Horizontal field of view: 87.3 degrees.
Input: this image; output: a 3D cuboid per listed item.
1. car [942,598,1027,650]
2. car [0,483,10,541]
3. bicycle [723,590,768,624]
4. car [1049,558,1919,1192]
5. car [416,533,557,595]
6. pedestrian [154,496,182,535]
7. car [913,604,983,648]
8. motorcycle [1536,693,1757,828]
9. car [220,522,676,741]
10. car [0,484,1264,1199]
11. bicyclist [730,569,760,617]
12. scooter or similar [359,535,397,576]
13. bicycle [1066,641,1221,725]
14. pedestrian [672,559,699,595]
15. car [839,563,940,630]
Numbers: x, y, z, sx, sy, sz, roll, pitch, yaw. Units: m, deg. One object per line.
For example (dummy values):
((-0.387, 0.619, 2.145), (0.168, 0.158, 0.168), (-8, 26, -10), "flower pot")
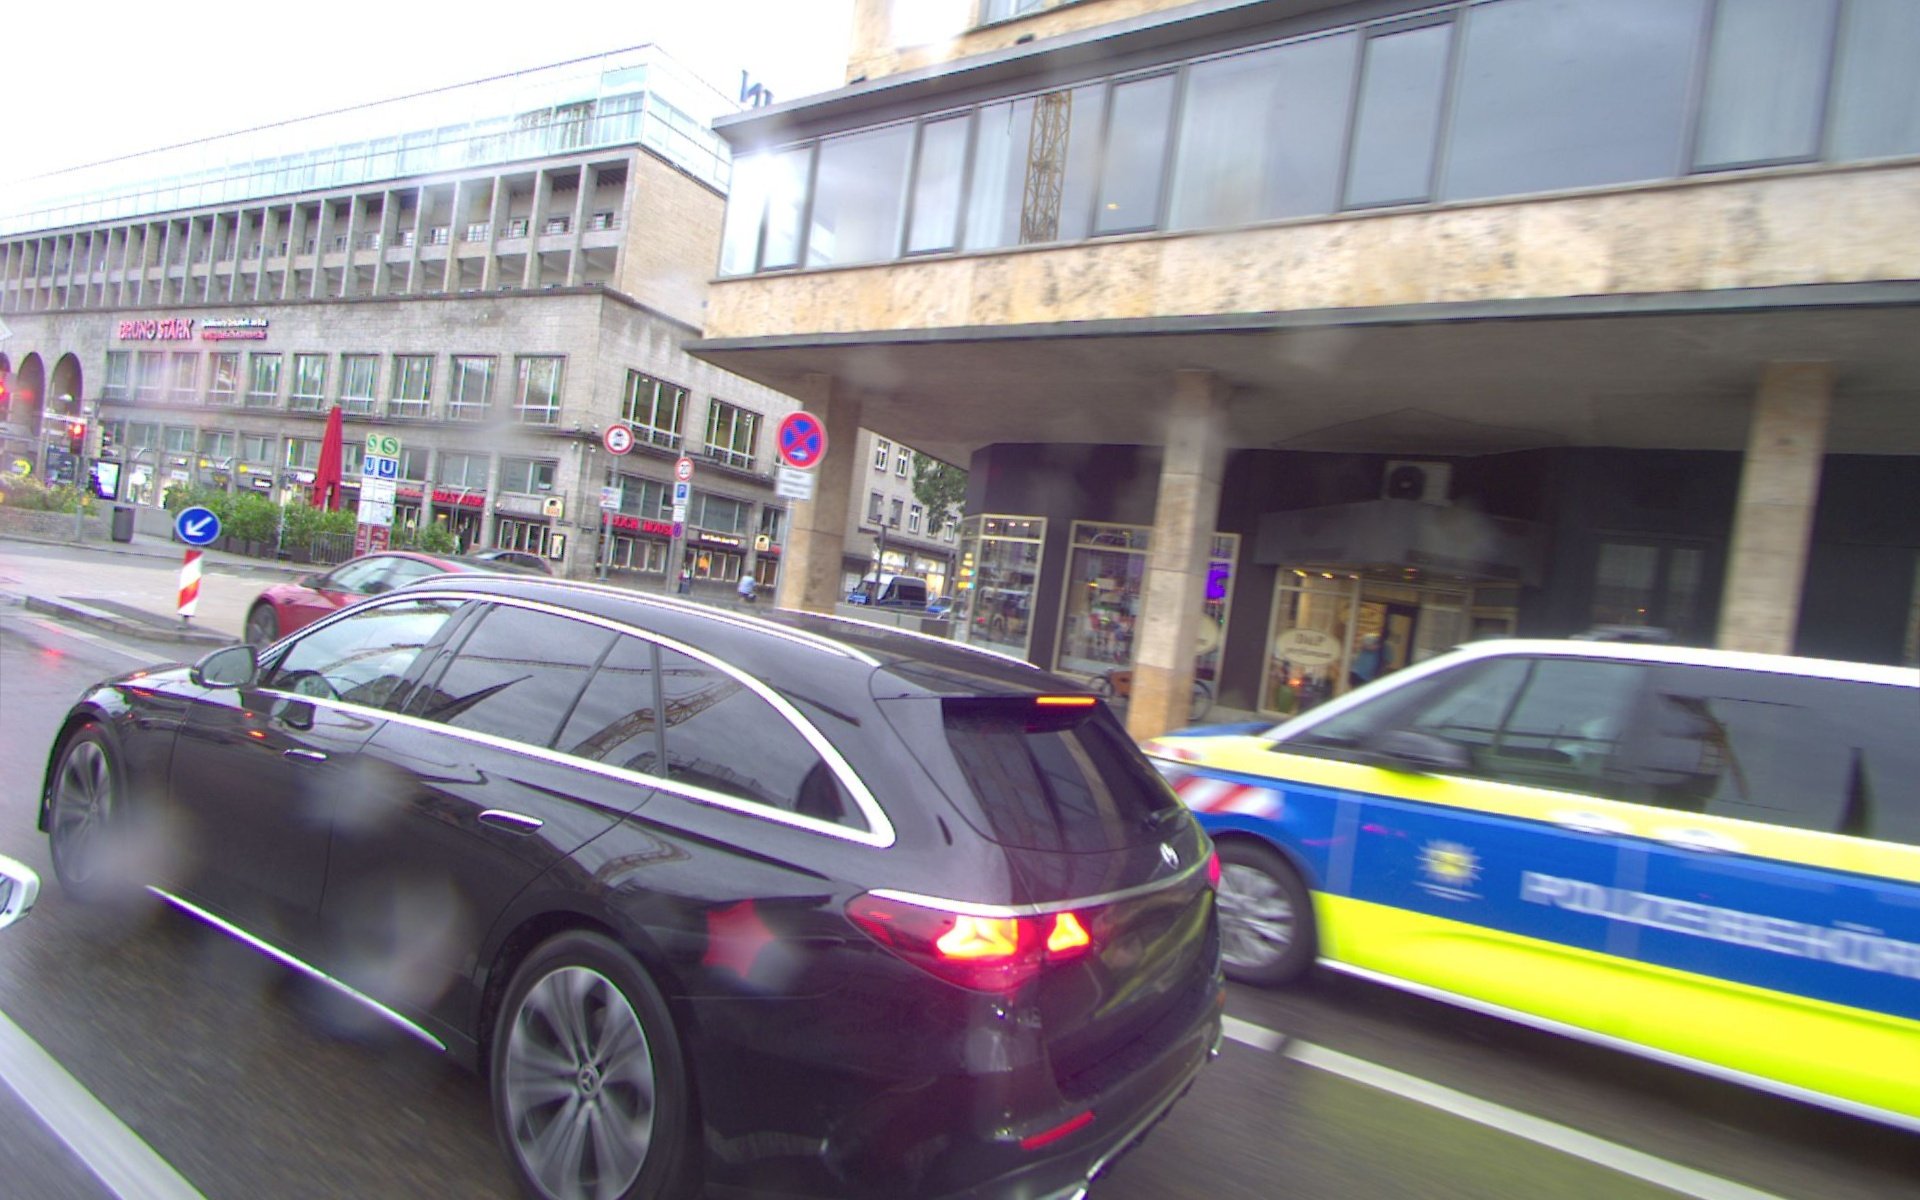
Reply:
((1.258, 1.198, 48.525), (1.966, 1.995, 4.638), (8, 0, 29), "car")
((-25.372, -2.459, 23.207), (4.586, 1.414, 1.751), (9, -2, -21), "car")
((-7.618, 0.282, 35.823), (0.581, 1.021, 2.217), (7, -2, 12), "bicycle")
((3.115, 1.078, 4.776), (4.853, 1.942, 1.878), (7, -1, 31), "car")
((-15.423, -1.158, 32.947), (1.822, 1.414, 3.660), (7, -2, 34), "car")
((-44.105, -4.690, 56.017), (0.811, 2.037, 0.764), (7, -1, 32), "pedestrian")
((-0.651, 1.585, 59.832), (1.966, 2.066, 4.556), (7, -2, 29), "car")
((8.308, 1.910, 12.249), (2.074, 1.232, 0.567), (7, -1, 40), "motorcycle")
((-5.179, 0.253, 10.018), (4.451, 1.503, 1.878), (7, -2, 31), "car")
((-1.489, 0.592, 3.683), (4.552, 1.519, 1.797), (7, -2, 32), "car")
((-7.594, -0.241, 35.617), (0.601, 1.558, 0.719), (7, -1, 13), "bicyclist")
((-19.136, -1.461, 33.078), (1.000, 1.203, 0.291), (7, -1, 13), "scooter or similar")
((3.094, 1.398, 17.123), (2.431, 1.058, 0.657), (7, -1, 32), "bicycle")
((-12.851, -1.069, 47.148), (0.704, 1.530, 0.759), (7, -1, 27), "pedestrian")
((-3.619, -0.113, 53.106), (1.966, 2.793, 6.183), (7, -2, 29), "car")
